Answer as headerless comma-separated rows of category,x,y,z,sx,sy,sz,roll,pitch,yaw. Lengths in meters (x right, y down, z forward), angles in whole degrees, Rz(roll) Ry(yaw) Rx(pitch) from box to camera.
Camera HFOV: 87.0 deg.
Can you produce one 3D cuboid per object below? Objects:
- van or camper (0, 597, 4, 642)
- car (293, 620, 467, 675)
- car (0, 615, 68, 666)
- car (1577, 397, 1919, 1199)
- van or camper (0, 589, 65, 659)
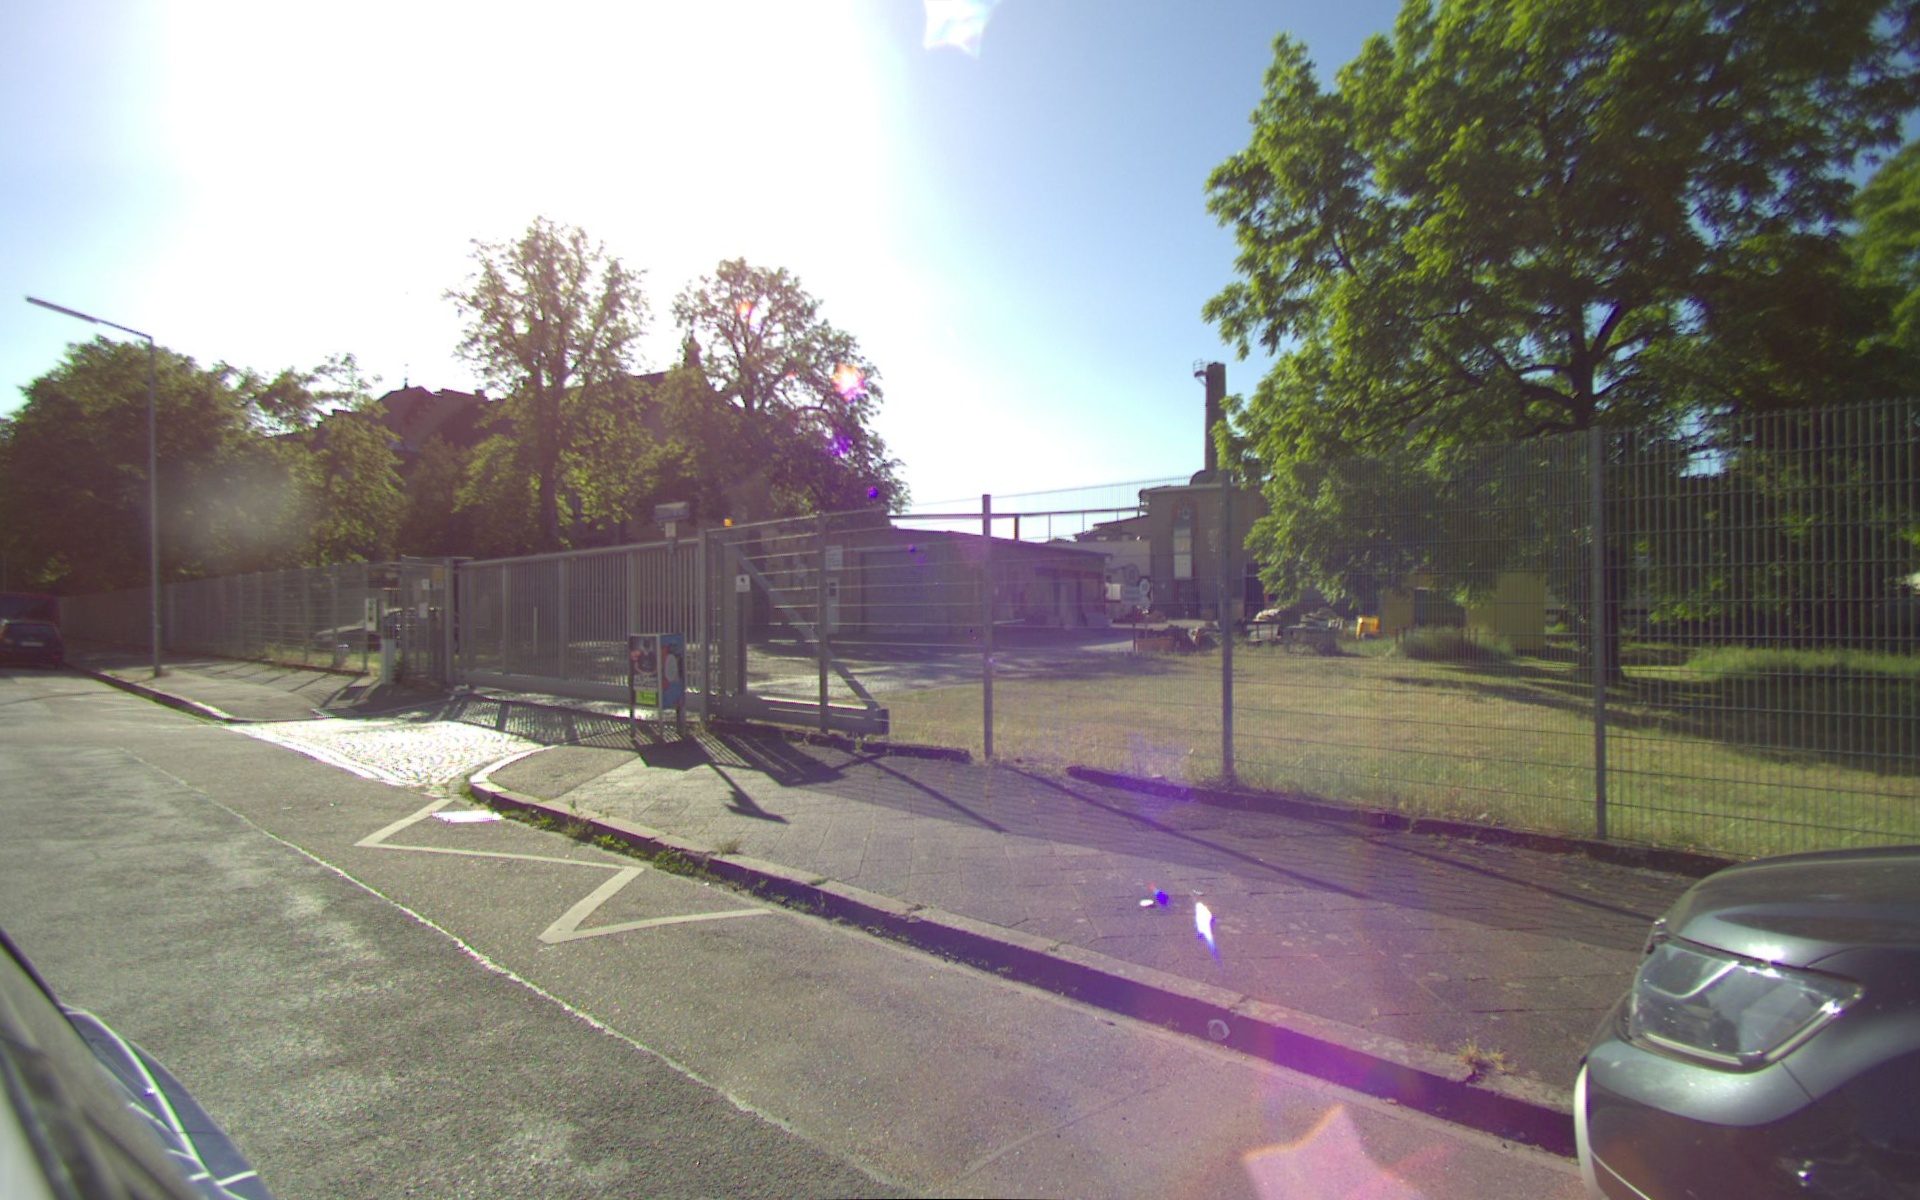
van or camper,-55.506,1.115,57.002,3.999,2.517,2.098,-1,-1,42
car,-16.695,1.319,29.254,2.000,1.431,3.944,-1,-1,42
car,-28.823,1.197,31.119,3.999,1.427,1.630,-1,0,42
car,3.011,0.617,0.716,4.165,1.676,1.693,-1,-4,43
van or camper,-33.026,0.795,35.274,5.309,2.298,2.182,-1,0,42
